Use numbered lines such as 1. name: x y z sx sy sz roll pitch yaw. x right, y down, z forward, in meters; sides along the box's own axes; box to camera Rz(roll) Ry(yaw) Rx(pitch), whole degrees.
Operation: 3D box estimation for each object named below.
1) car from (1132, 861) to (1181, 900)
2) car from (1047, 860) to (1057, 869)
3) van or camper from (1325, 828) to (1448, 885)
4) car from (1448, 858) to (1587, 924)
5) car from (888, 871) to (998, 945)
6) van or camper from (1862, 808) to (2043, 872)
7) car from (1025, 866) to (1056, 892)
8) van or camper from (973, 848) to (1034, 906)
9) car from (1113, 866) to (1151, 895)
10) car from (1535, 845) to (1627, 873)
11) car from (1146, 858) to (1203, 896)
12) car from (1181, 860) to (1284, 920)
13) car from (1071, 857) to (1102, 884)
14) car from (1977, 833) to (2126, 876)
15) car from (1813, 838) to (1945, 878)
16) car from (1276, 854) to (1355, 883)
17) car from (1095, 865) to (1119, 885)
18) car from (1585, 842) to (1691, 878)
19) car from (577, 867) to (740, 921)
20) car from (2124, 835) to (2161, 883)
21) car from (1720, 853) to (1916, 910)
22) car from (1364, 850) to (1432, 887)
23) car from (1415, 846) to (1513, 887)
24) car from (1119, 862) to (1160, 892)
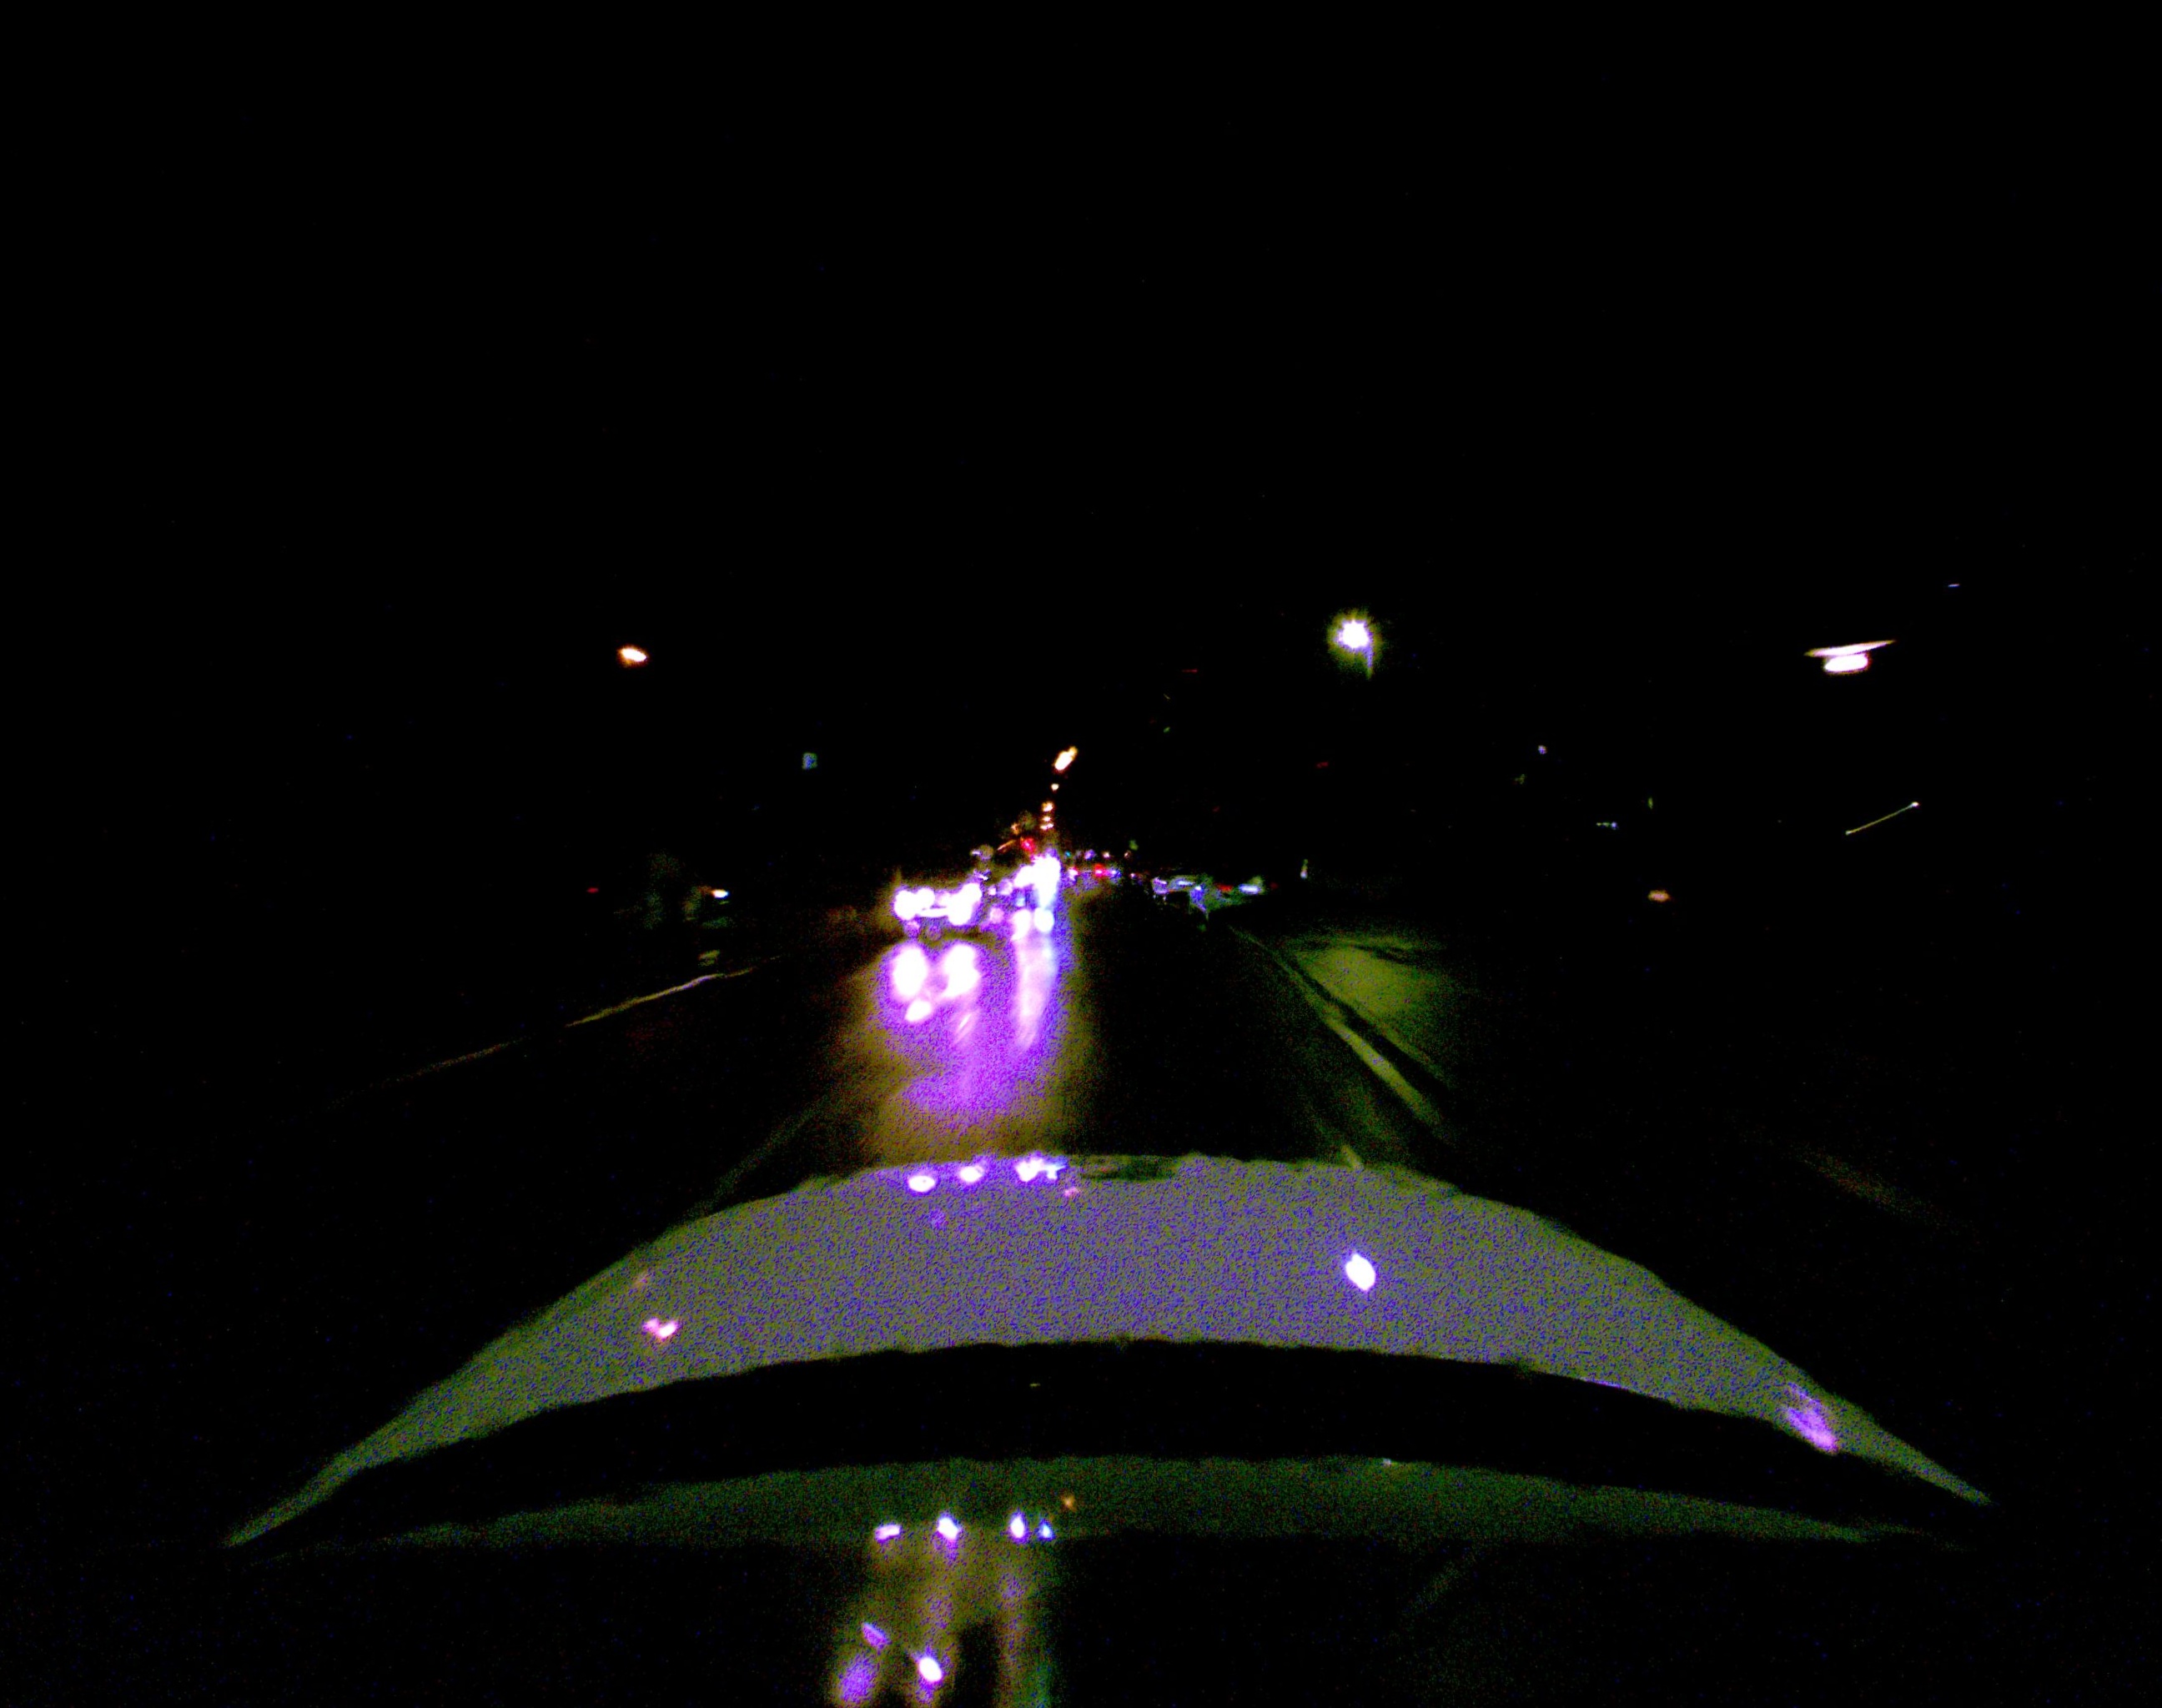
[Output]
1. car: 3.681 1.262 40.428 1.710 1.708 4.181 -3 0 -4
2. car: -5.737 2.079 158.265 1.808 1.710 3.799 -2 0 -3
3. van or camper: 14.429 0.102 38.701 5.044 2.527 2.172 -1 -1 1
4. car: 13.191 1.046 24.948 1.898 1.695 4.258 -3 0 -1
5. car: -3.048 1.154 18.780 1.739 1.433 4.001 -2 -1 1
6. van or camper: 37.791 -0.570 35.436 5.361 2.554 2.381 -1 -1 -1
7. car: -2.434 1.504 50.333 1.791 1.461 4.574 1 -1 -2
8. van or camper: -3.004 0.872 32.526 1.864 2.103 4.942 -1 -1 0
9. car: 3.183 1.645 51.570 1.876 1.572 4.524 -3 0 -2
10. car: 26.841 0.266 43.769 3.978 1.353 1.680 -1 0 -3
11. car: 3.892 0.957 34.602 1.709 1.489 4.432 -2 -1 -3
12. car: 4.219 0.950 23.467 1.785 1.449 4.785 -3 0 -3
13. car: 0.353 1.090 54.911 1.988 1.683 3.998 -1 1 -1
14. car: 38.845 0.019 32.656 3.974 1.616 1.669 -1 -1 -1
15. car: 39.345 0.215 40.231 4.637 1.805 1.907 -1 -1 0
16. car: 13.243 0.795 46.159 3.978 1.521 1.683 -1 0 -3
17. car: 2.157 1.726 67.642 1.624 1.466 4.506 -3 0 -2
18. car: 23.554 0.262 34.631 1.673 1.414 4.261 -1 -1 1
19. car: -14.140 1.317 27.328 4.656 1.619 2.007 -2 -1 14
20. car: 38.709 0.130 27.837 3.974 1.616 1.669 -1 -1 -1
21. car: 20.914 0.743 23.381 1.820 1.468 4.258 1 -1 0
22. car: 13.467 0.582 34.800 1.558 1.469 3.407 -1 0 0
23. car: 16.013 0.511 34.383 1.823 1.548 4.865 -1 0 0
24. car: 3.273 1.283 46.408 1.750 1.528 4.148 -3 0 -3
